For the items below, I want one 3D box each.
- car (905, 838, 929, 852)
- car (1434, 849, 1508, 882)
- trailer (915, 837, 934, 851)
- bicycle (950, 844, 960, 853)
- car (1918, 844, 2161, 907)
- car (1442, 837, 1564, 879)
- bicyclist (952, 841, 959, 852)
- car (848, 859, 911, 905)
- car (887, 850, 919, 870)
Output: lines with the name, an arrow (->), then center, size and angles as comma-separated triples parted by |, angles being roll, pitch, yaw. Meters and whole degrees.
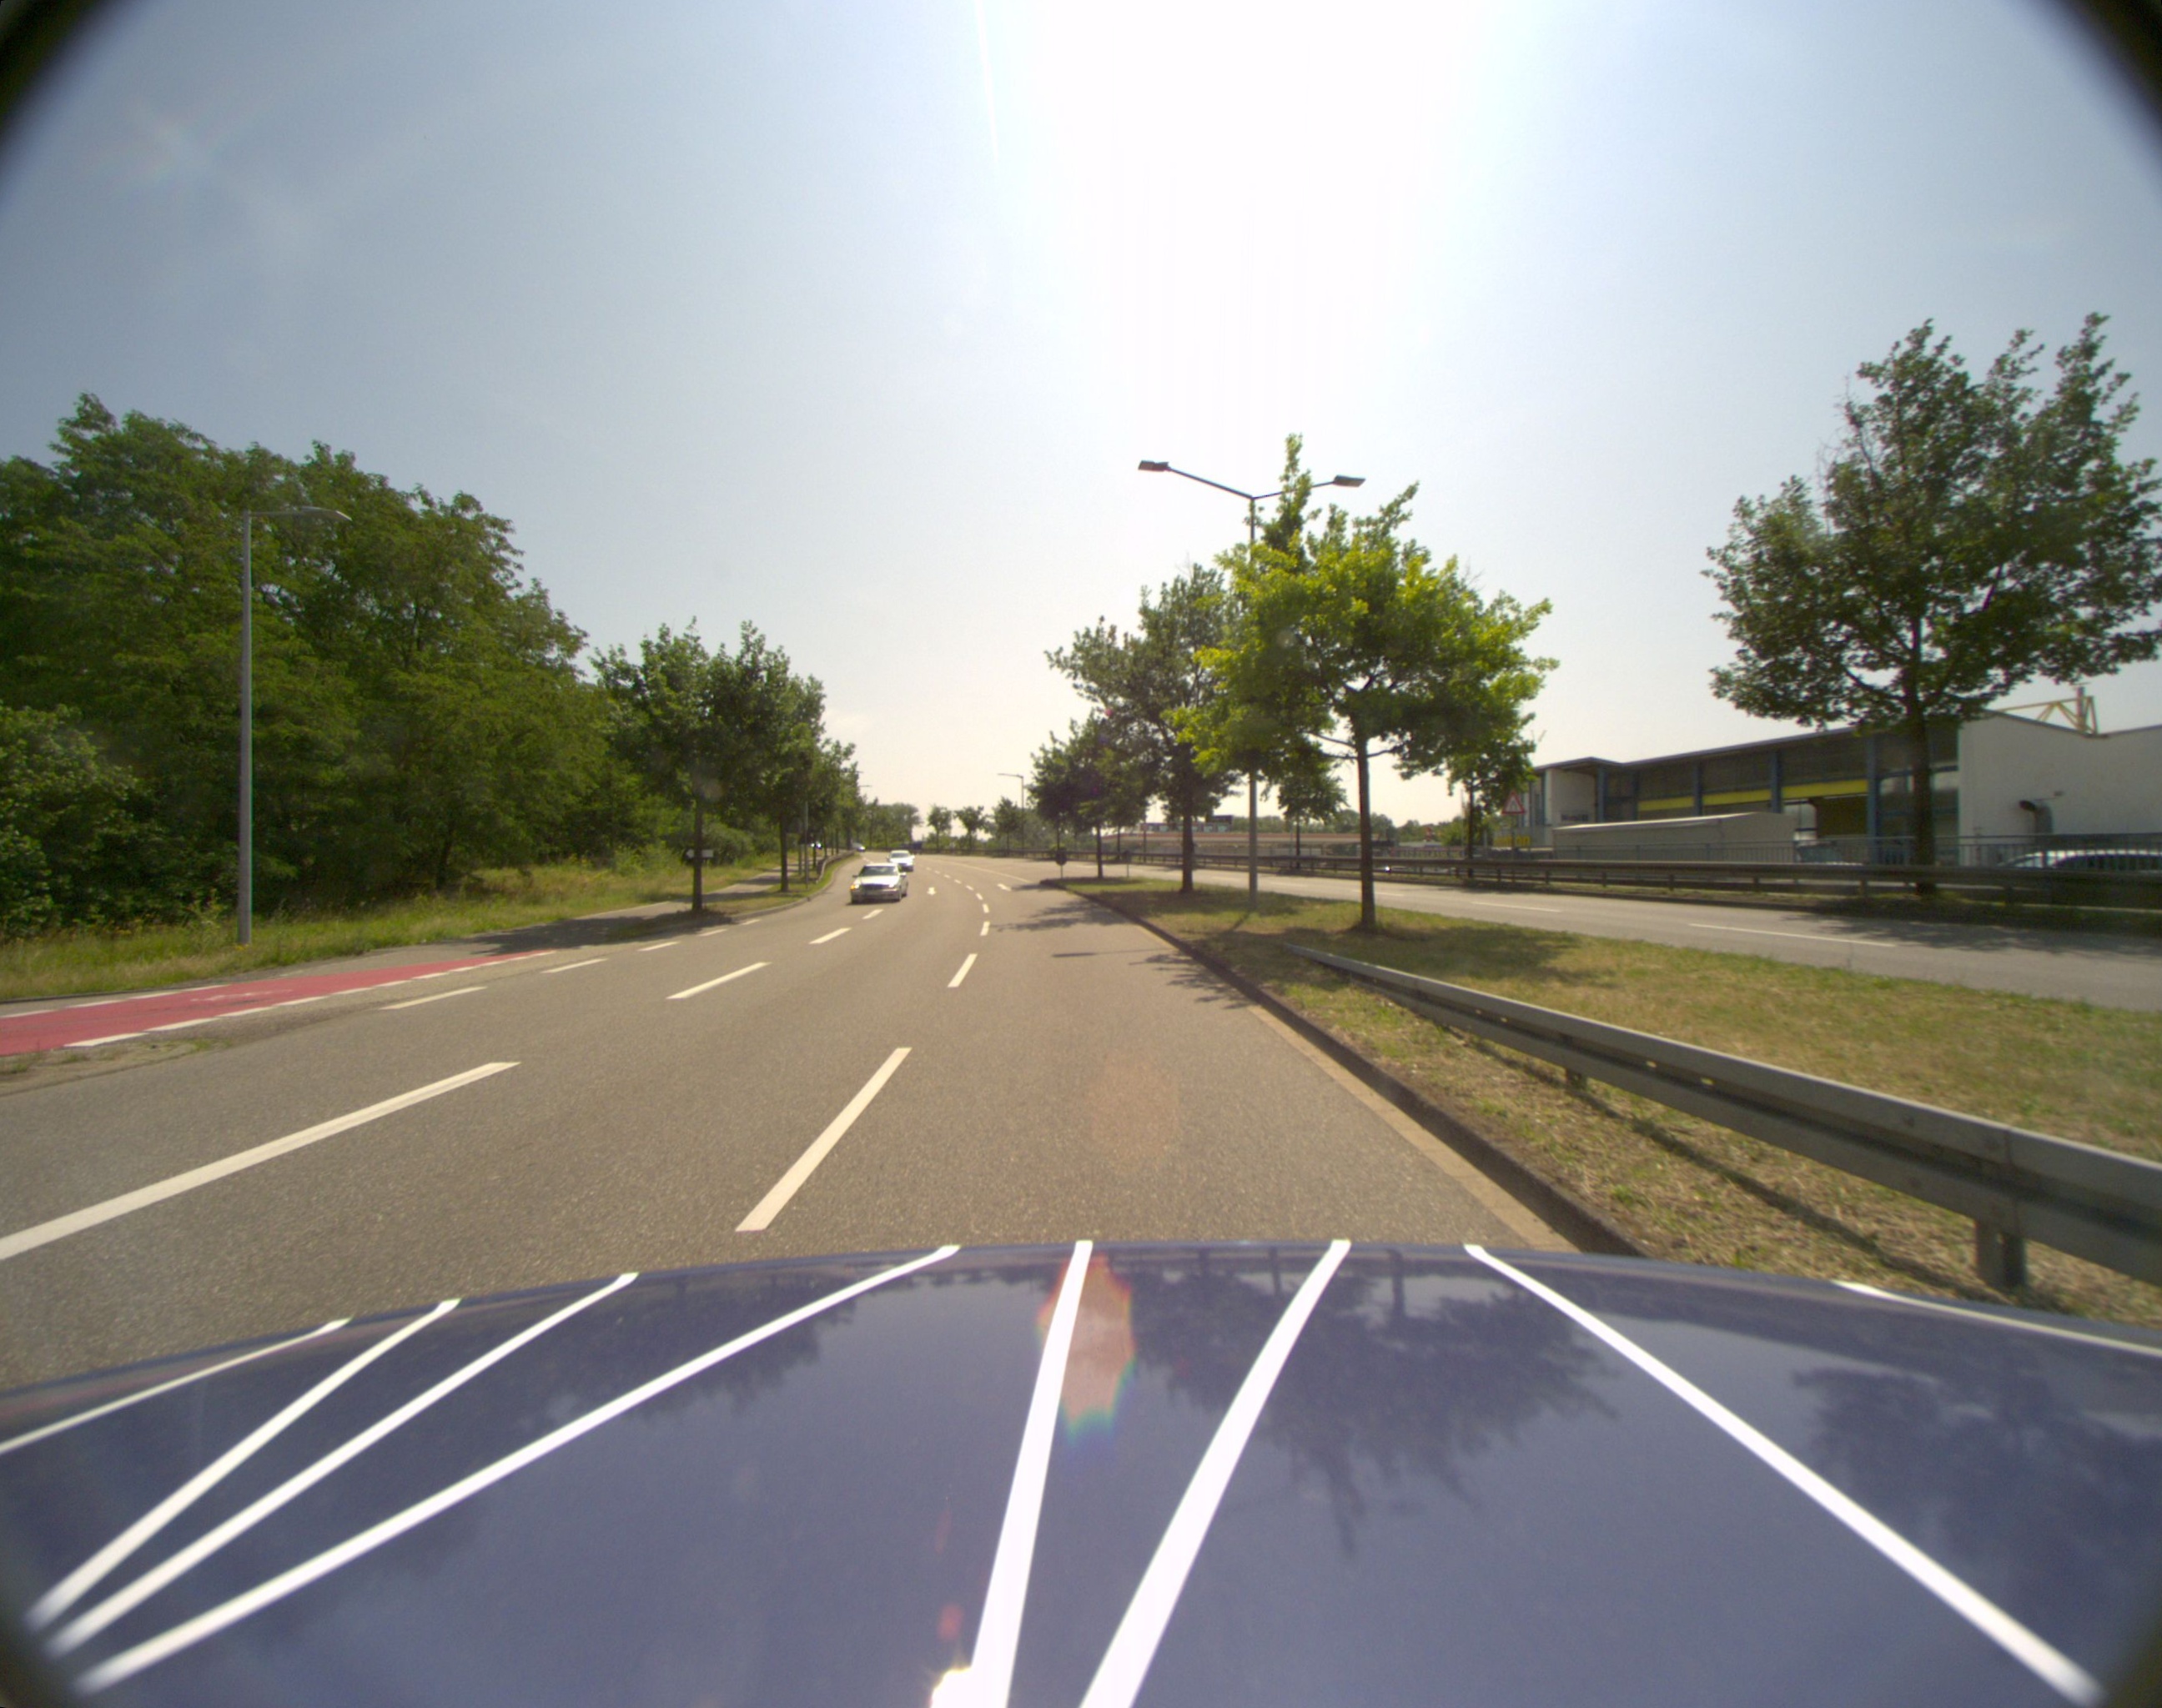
car -> -21.760, -1.185, 100.705 | 1.923, 1.642, 4.398 | -1, 0, -27
car -> 25.743, 0.726, 50.174 | 4.001, 2.002, 1.998 | -1, 1, -12
trailer -> -20.011, -1.250, 97.267 | 1.512, 1.605, 3.301 | -1, 0, -27
bicycle -> -17.534, -0.769, 105.596 | 0.738, 1.110, 2.041 | 3, 0, -29
car -> 23.113, 0.484, 18.057 | 3.990, 1.371, 1.662 | -1, 1, 23
car -> 16.981, 0.114, 30.891 | 1.904, 1.560, 4.635 | 1, 1, -8
bicyclist -> -17.449, -1.074, 105.498 | 0.733, 1.457, 0.822 | 3, 1, -29
car -> -7.540, 1.003, 28.770 | 1.764, 1.490, 4.230 | -1, 1, -8
car -> -12.852, 0.399, 54.706 | 2.001, 1.361, 4.227 | -1, 1, -16
